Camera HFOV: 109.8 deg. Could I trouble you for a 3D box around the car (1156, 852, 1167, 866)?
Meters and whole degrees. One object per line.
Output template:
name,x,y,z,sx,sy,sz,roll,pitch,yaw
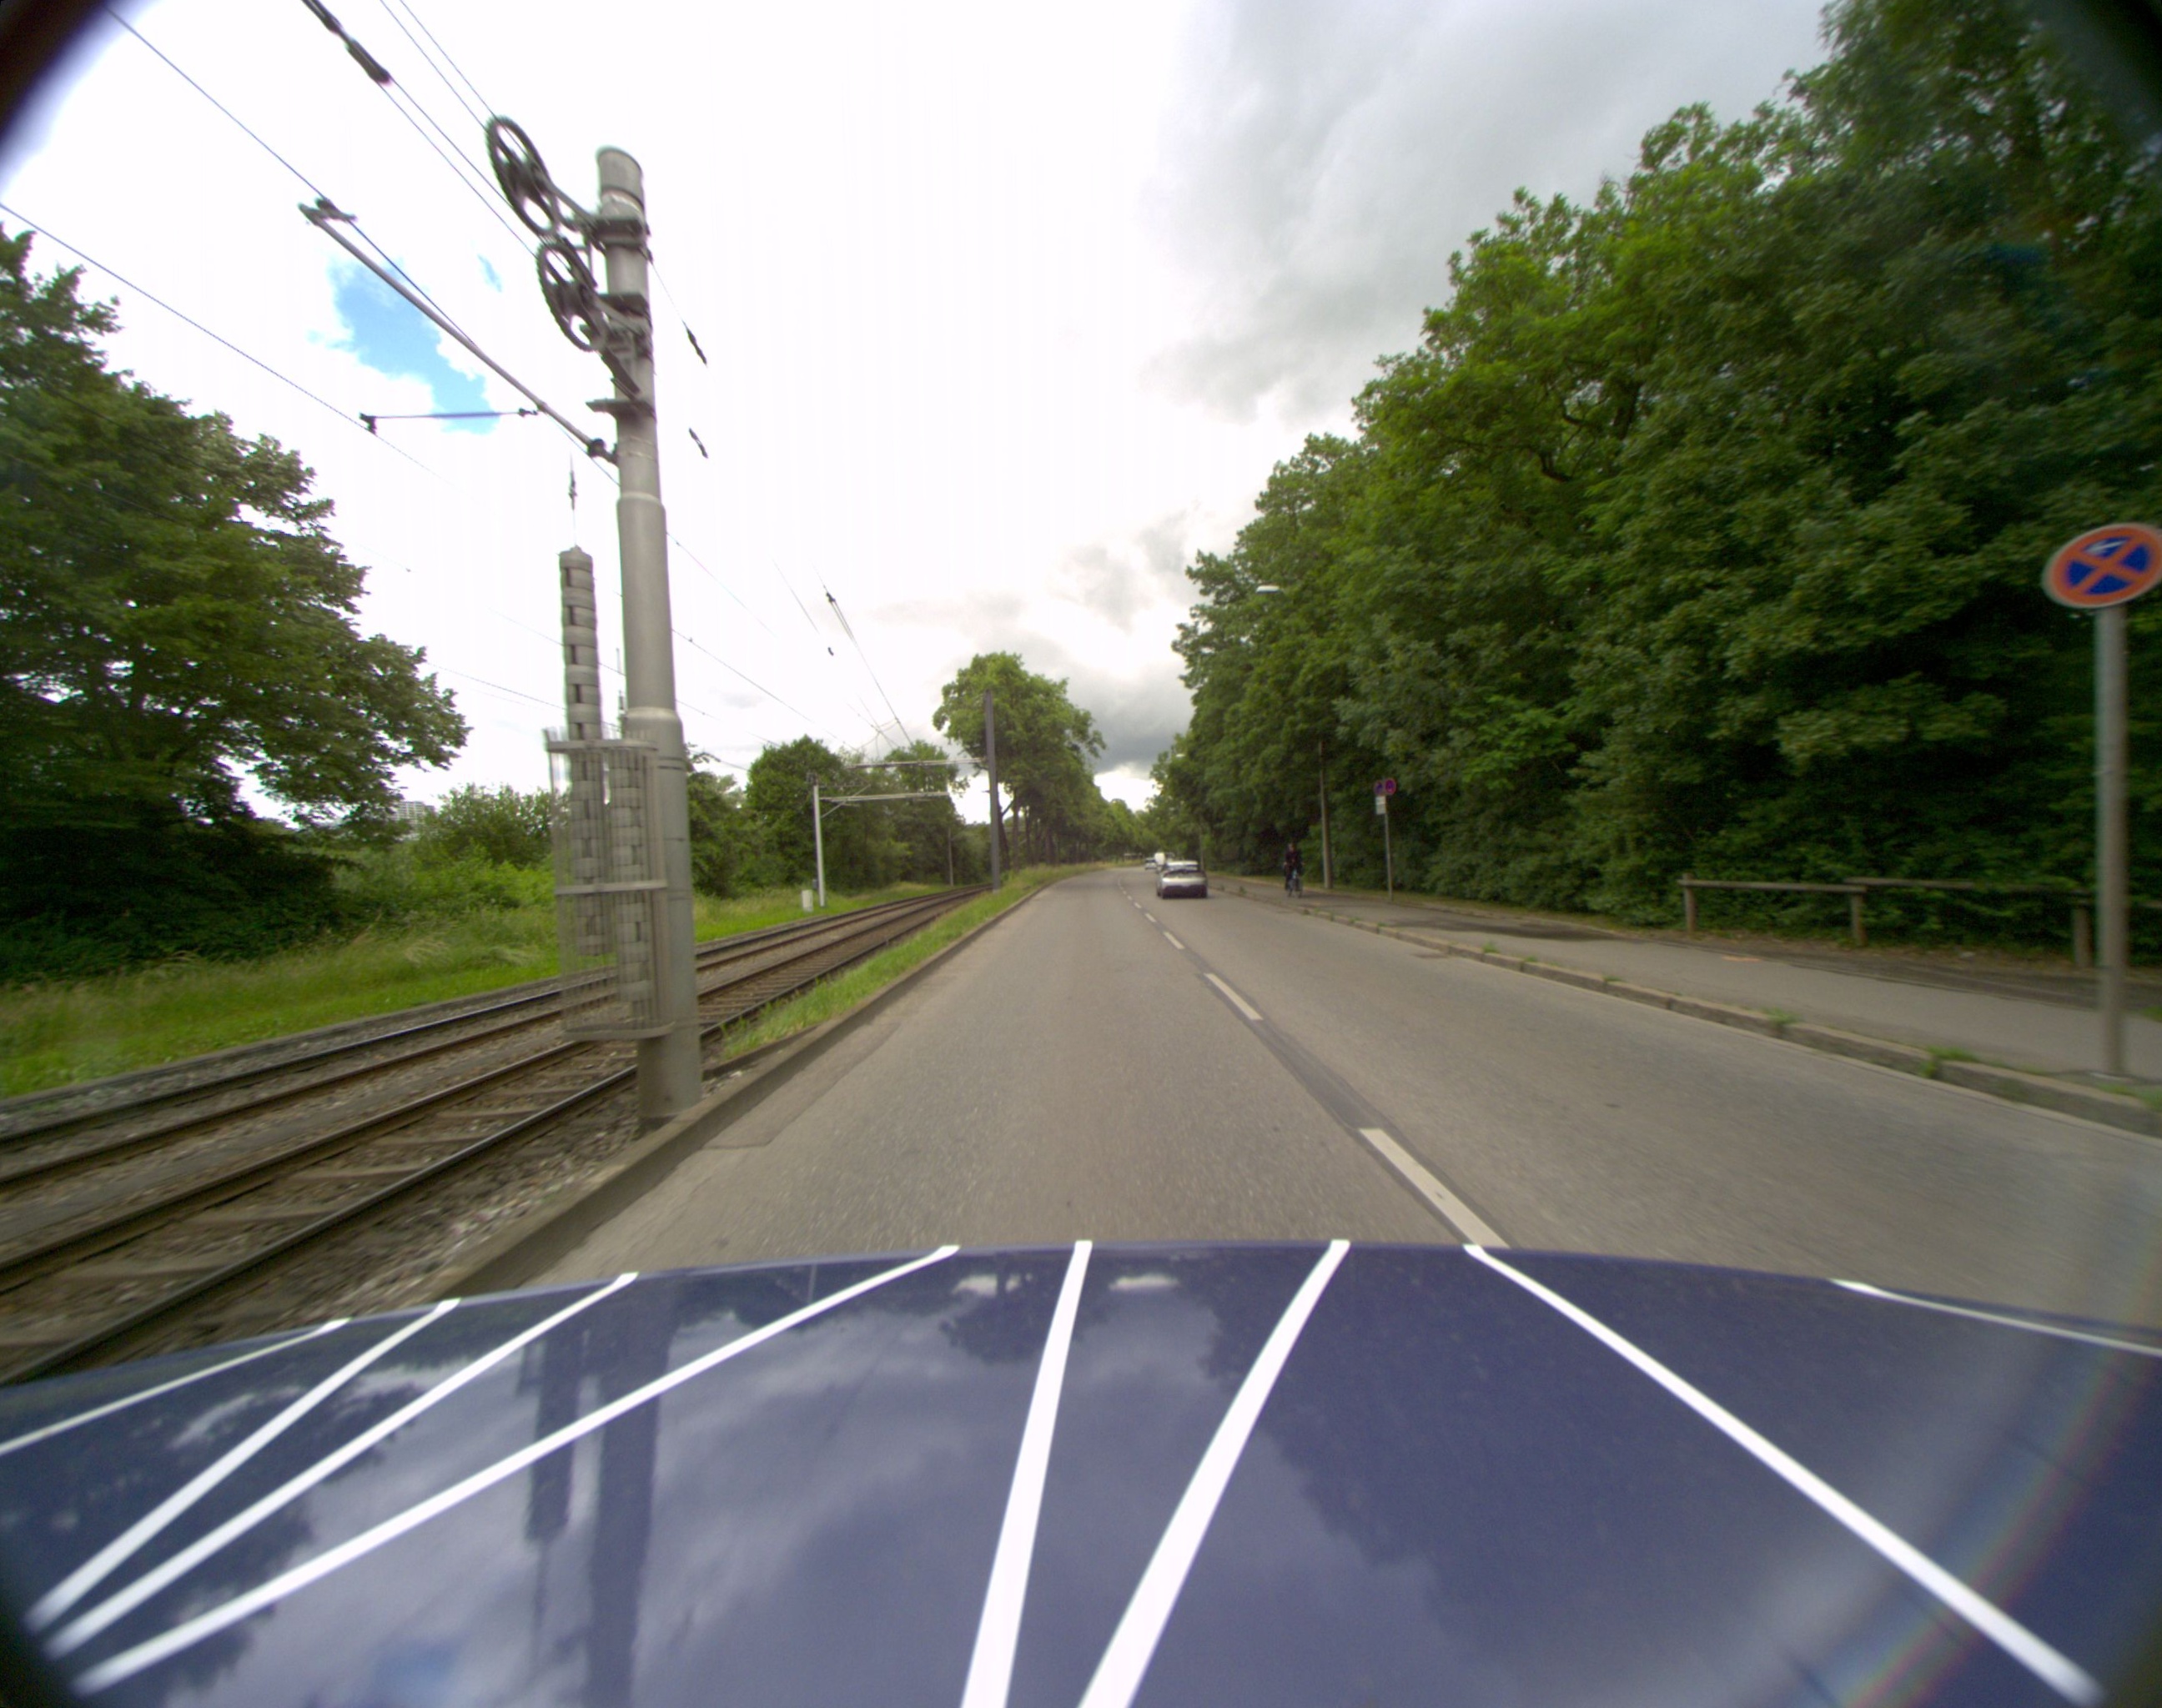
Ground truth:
car,15.924,0.990,150.676,1.998,2.610,5.897,-1,-1,4

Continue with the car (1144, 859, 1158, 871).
car,11.078,1.788,120.201,1.861,1.788,4.558,-2,-1,2

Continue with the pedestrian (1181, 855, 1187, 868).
pedestrian,14.095,1.040,103.724,0.600,1.704,0.815,-4,0,4

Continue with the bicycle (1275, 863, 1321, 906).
bicycle,7.167,0.977,25.268,0.700,1.323,2.280,-4,0,-2

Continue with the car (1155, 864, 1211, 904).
car,4.139,1.188,31.446,1.798,1.483,4.181,-1,-1,1

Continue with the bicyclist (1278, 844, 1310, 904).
bicyclist,7.140,0.666,25.454,0.688,1.936,0.835,-4,0,-2
